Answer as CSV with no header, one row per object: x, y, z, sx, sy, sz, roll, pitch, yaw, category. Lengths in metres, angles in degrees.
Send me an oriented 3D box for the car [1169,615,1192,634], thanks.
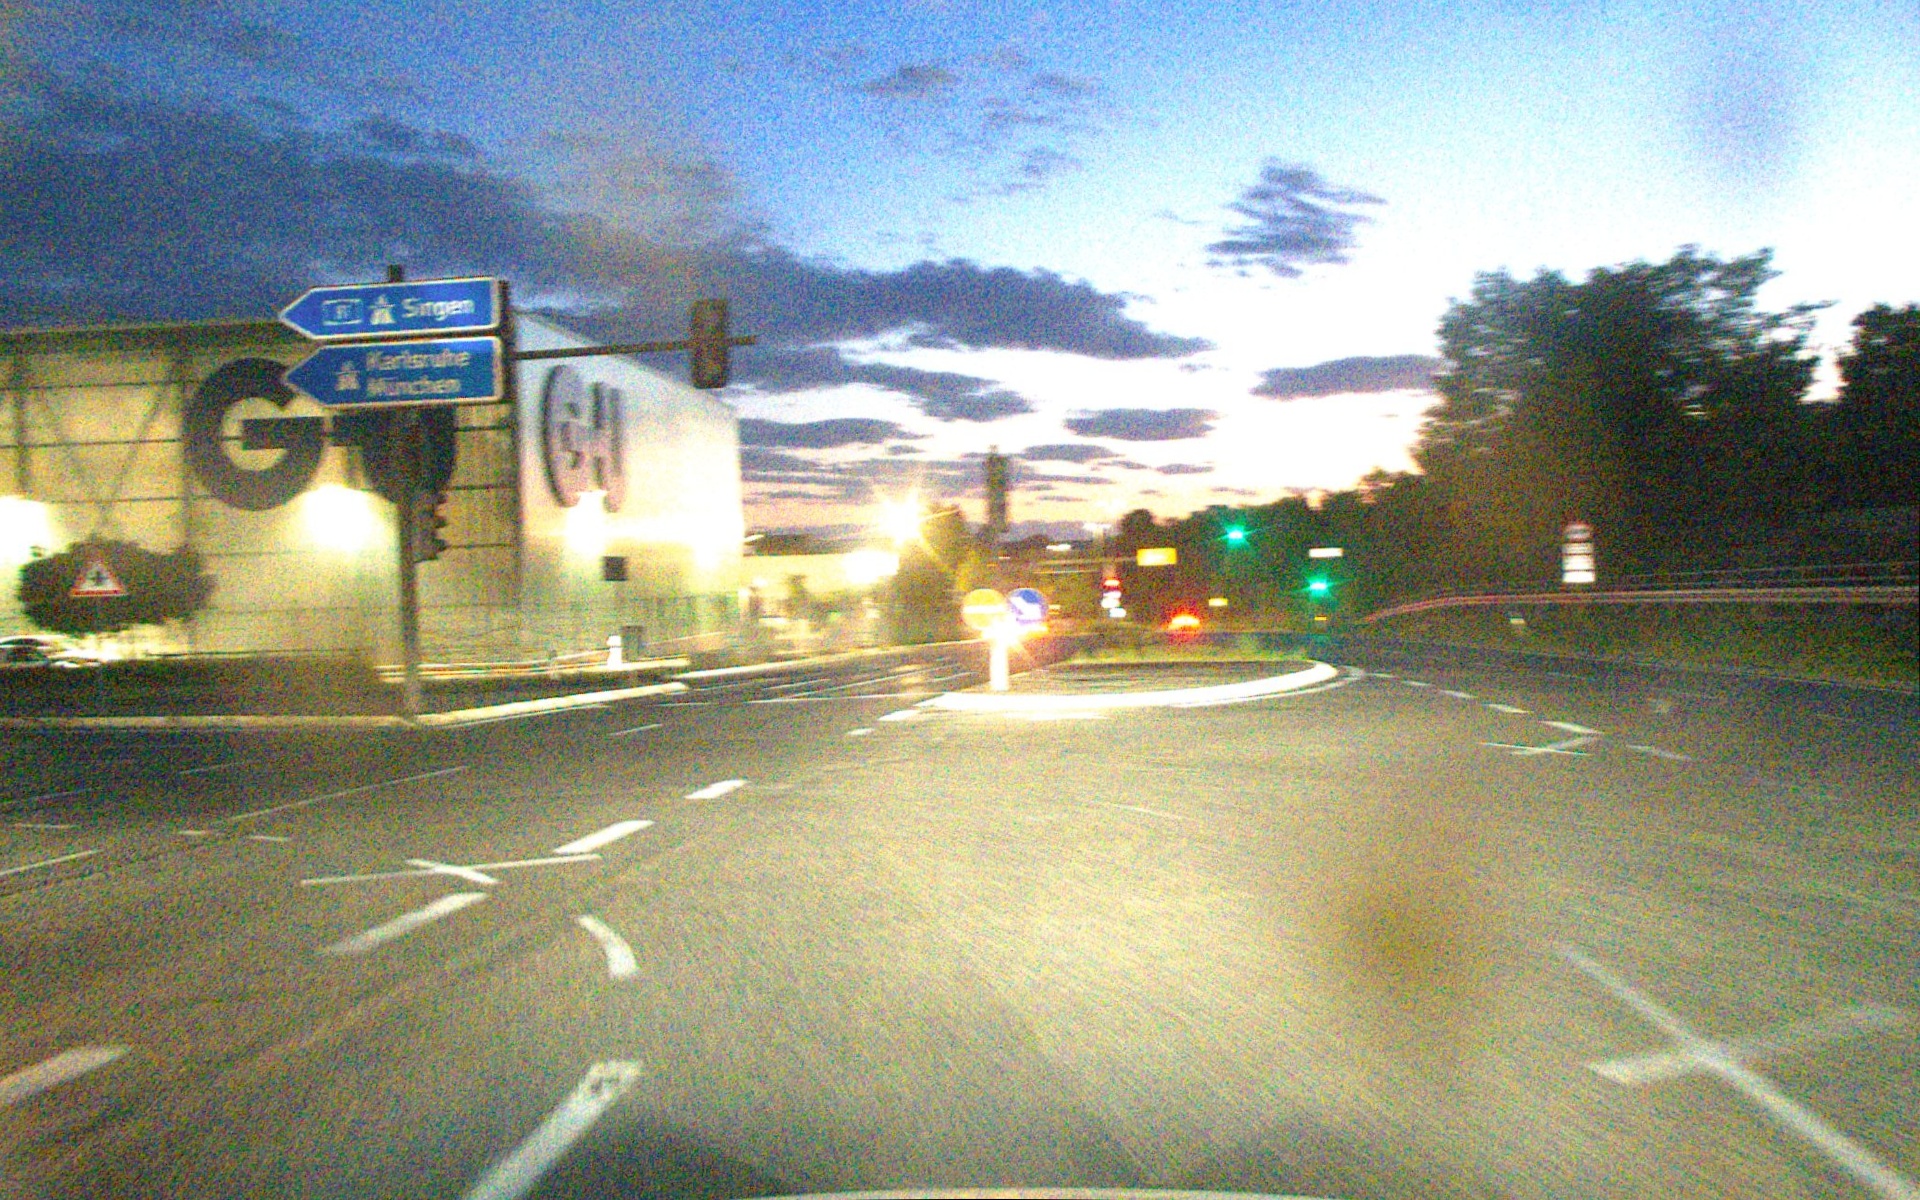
20.815,2.327,156.219,1.894,1.675,4.002,-2,0,4,car
